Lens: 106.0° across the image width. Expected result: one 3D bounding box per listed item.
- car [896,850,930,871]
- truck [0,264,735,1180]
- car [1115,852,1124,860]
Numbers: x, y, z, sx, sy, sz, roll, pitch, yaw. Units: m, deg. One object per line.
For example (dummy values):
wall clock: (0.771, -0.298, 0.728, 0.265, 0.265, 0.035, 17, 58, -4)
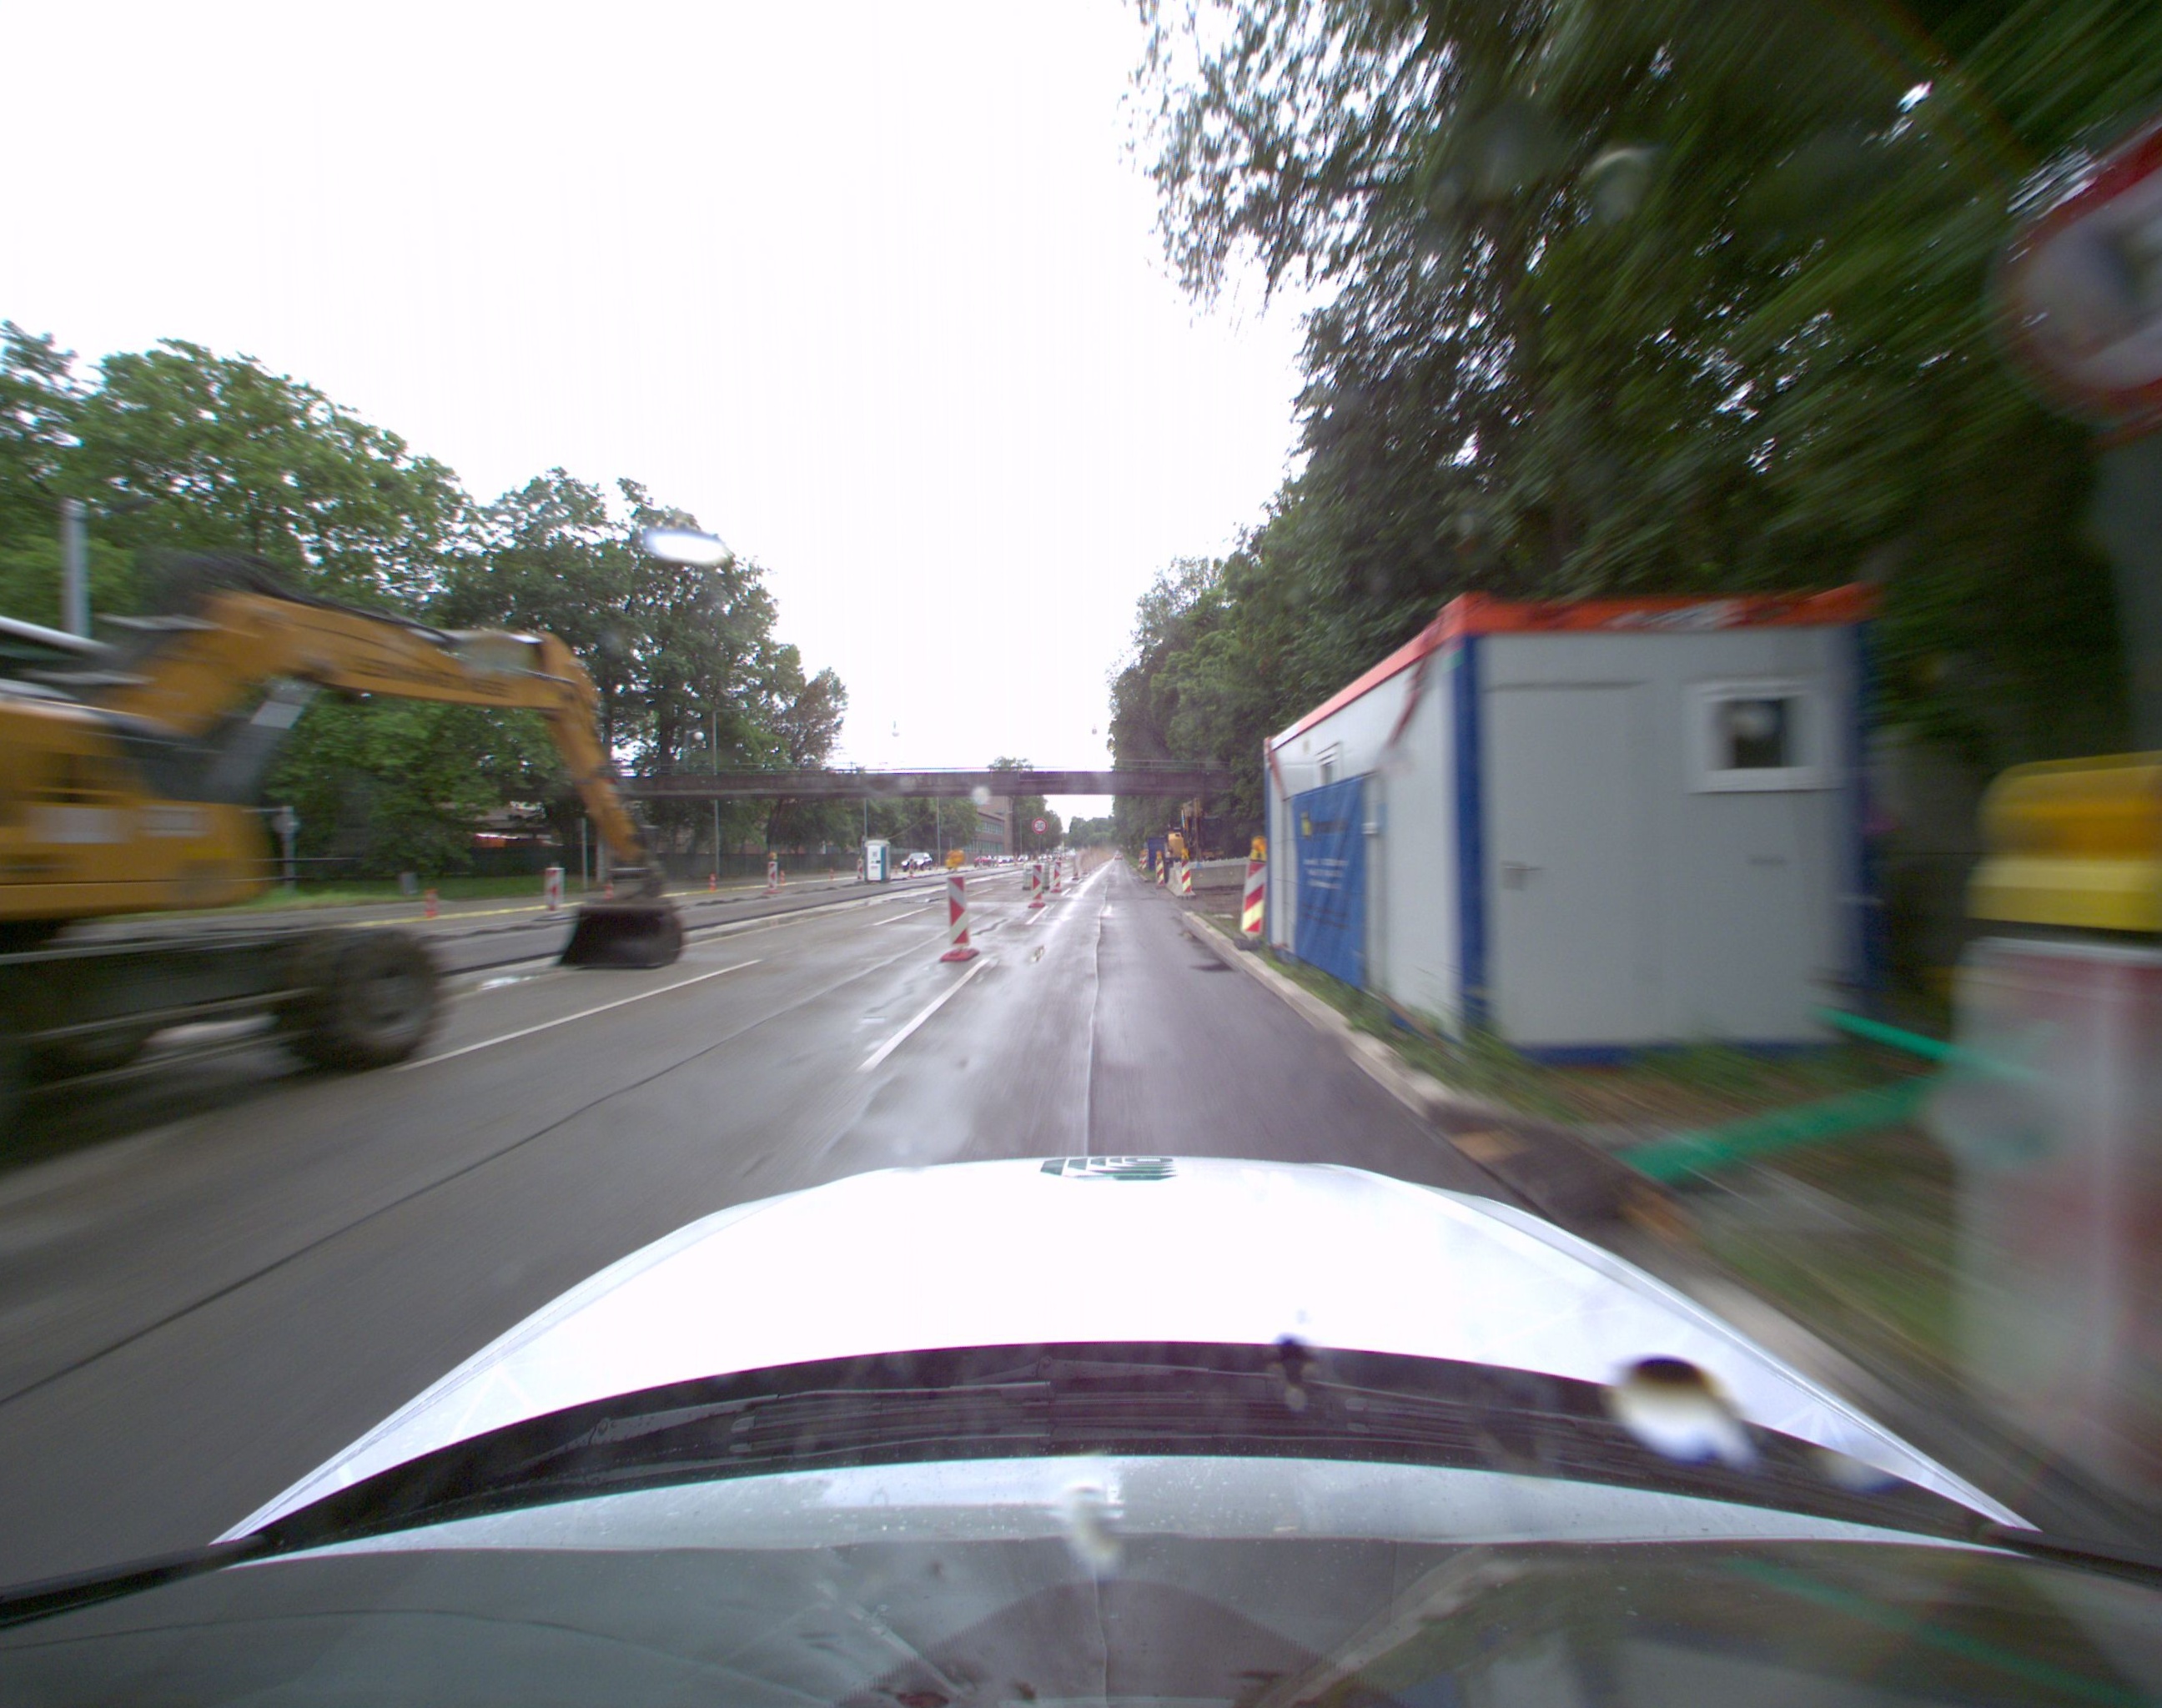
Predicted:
car: (-15.743, 0.598, 76.664, 1.963, 1.806, 4.611, -2, 0, 3)
truck: (-6.629, -0.619, 7.285, 2.890, 4.259, 10.745, 0, 0, -3)
car: (8.884, 0.433, 185.982, 1.986, 1.640, 4.002, -2, 0, 2)
